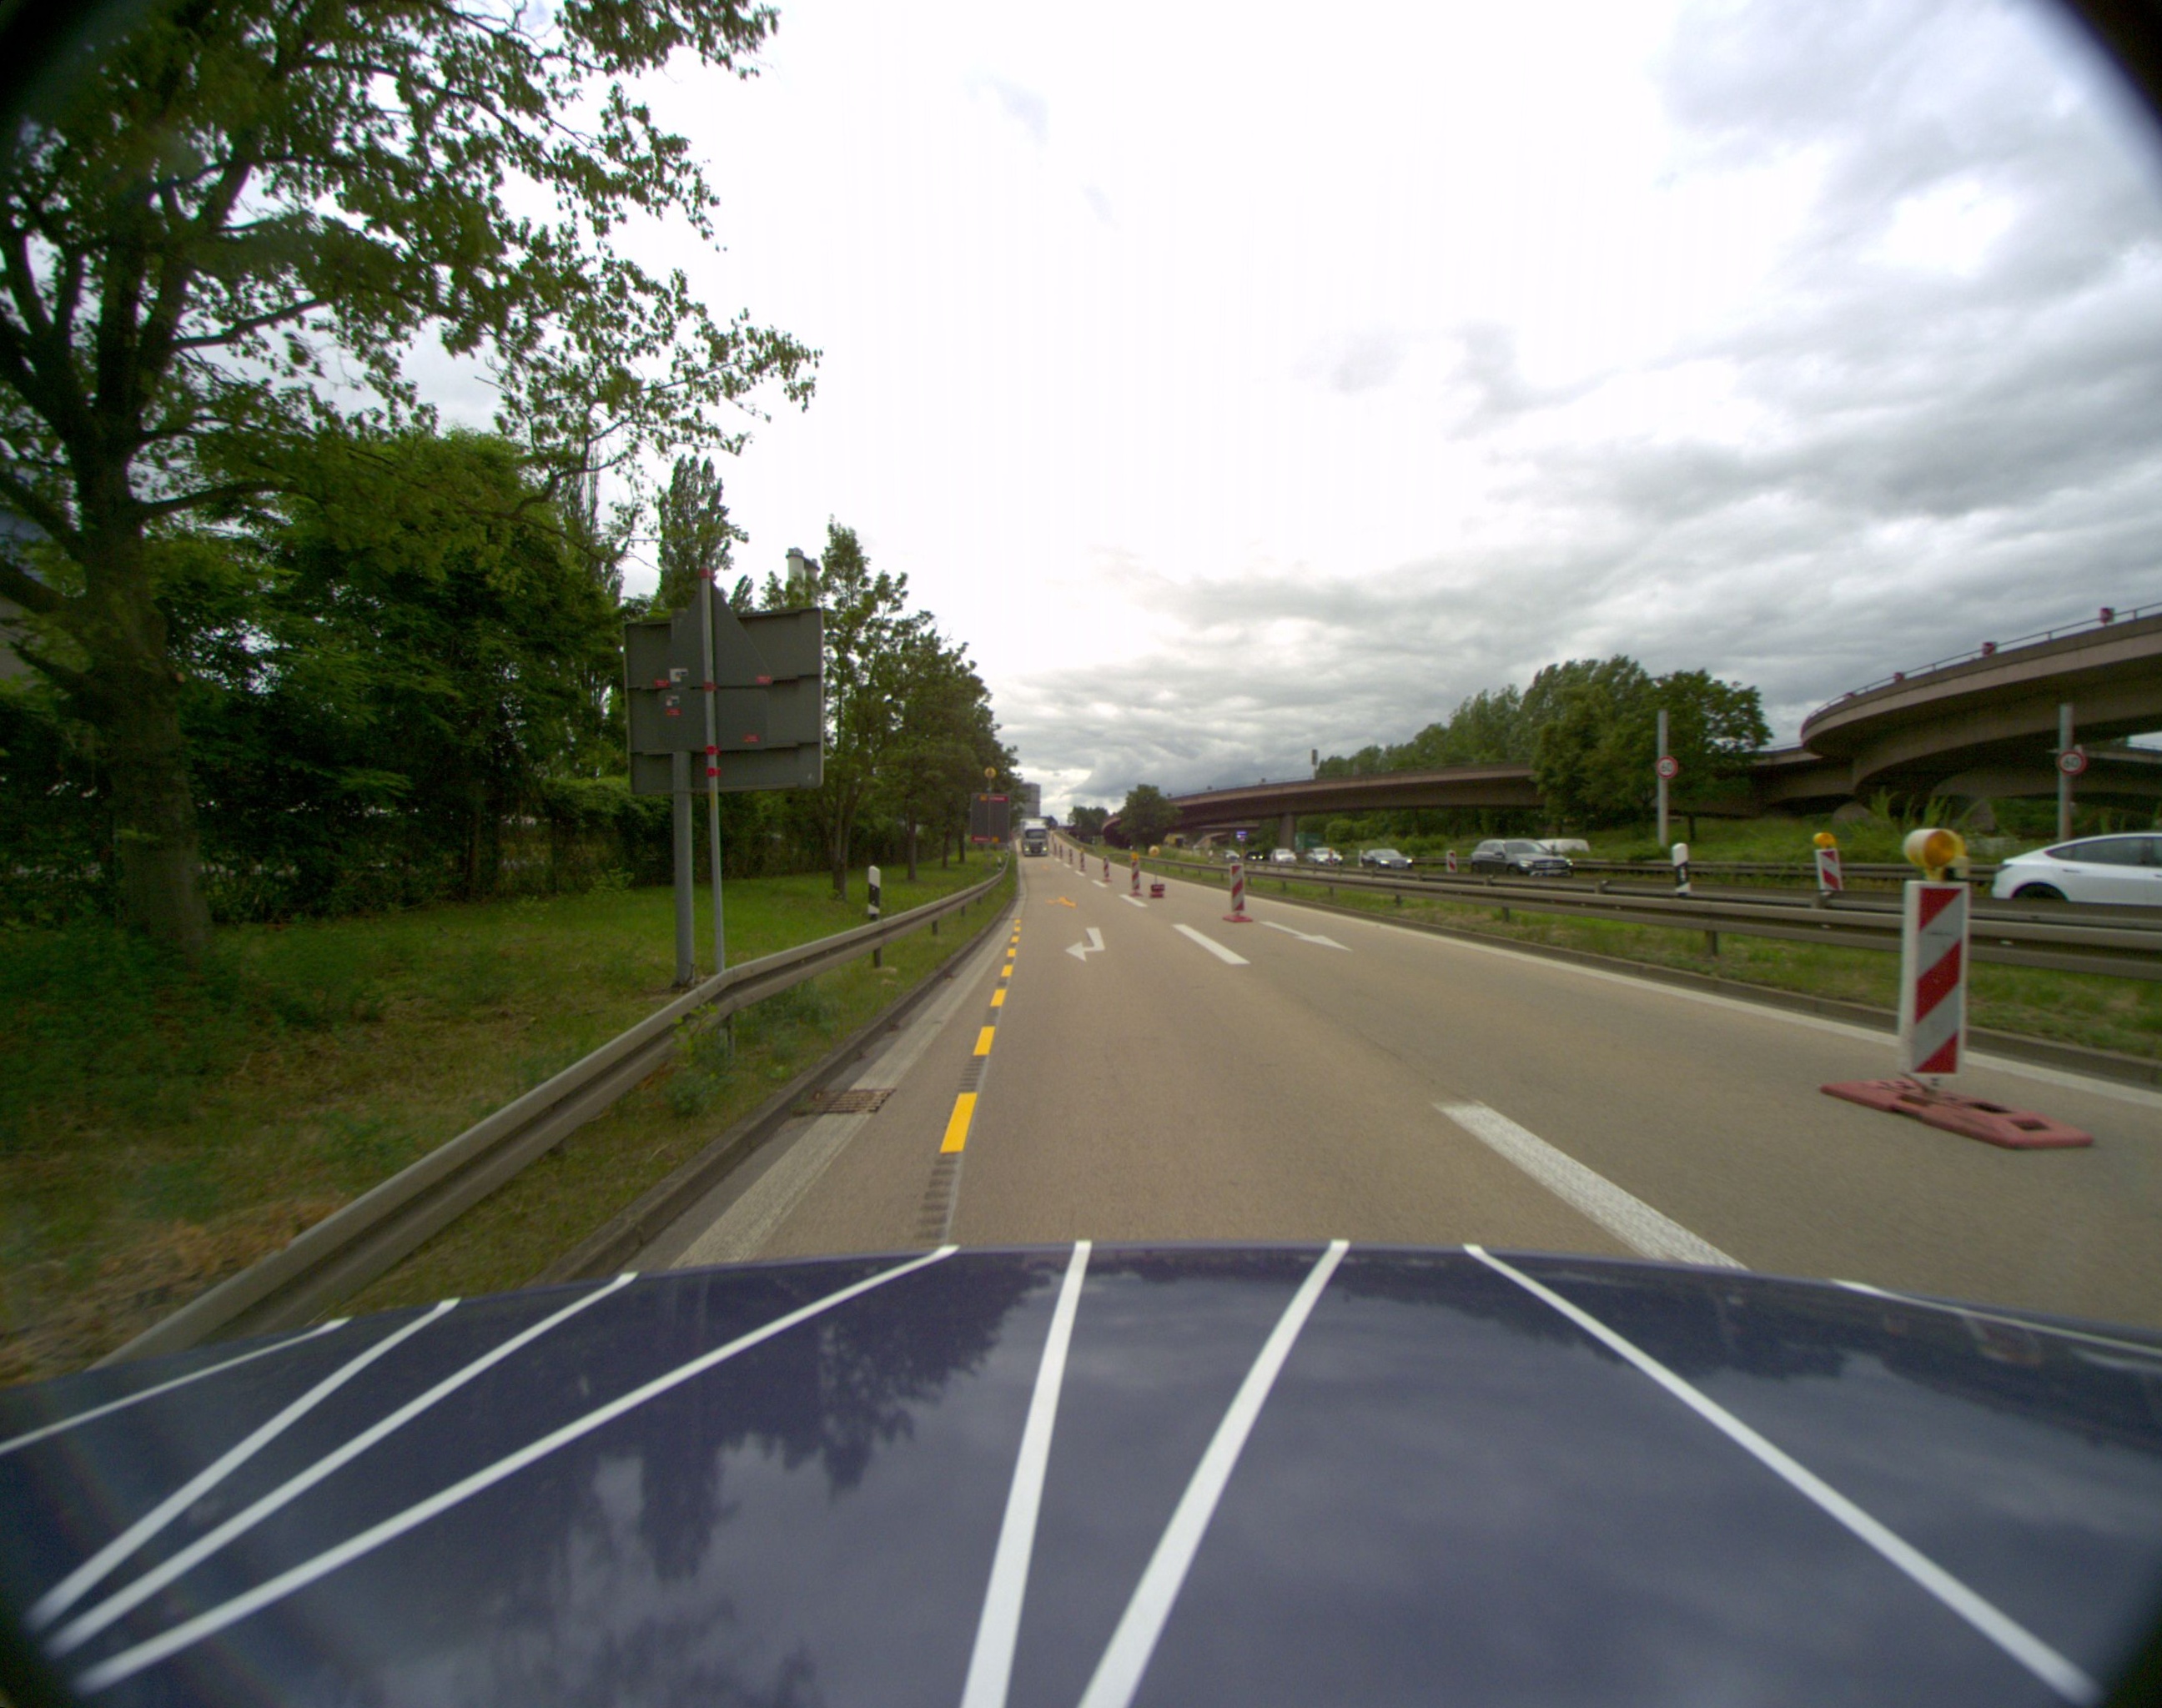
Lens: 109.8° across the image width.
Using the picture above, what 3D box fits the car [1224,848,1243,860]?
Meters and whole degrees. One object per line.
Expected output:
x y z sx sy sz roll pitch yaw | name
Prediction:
20.309 0.002 101.368 1.998 1.585 4.293 0 1 4 | car

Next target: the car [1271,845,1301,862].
19.508 -0.081 72.424 1.998 1.585 4.001 0 1 4 | car

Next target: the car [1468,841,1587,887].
16.088 0.314 27.653 1.979 1.502 4.292 -1 1 3 | car

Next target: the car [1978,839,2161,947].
15.072 0.507 9.692 1.977 1.405 4.600 0 1 4 | car

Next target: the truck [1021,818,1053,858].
-4.906 -1.698 84.979 3.163 4.106 8.138 -3 0 -4 | truck

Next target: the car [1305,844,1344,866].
17.786 0.015 55.765 1.802 1.503 4.000 0 2 4 | car

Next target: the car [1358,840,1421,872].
17.489 0.093 43.250 1.936 1.693 3.999 0 1 0 | car

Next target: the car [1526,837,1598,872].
28.601 -0.015 45.348 1.998 1.991 4.001 0 1 5 | car

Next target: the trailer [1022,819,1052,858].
-5.456 -1.793 92.496 3.165 4.299 13.258 -3 0 -4 | trailer

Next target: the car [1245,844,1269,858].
20.033 -0.354 86.655 1.998 1.585 4.293 0 1 4 | car
